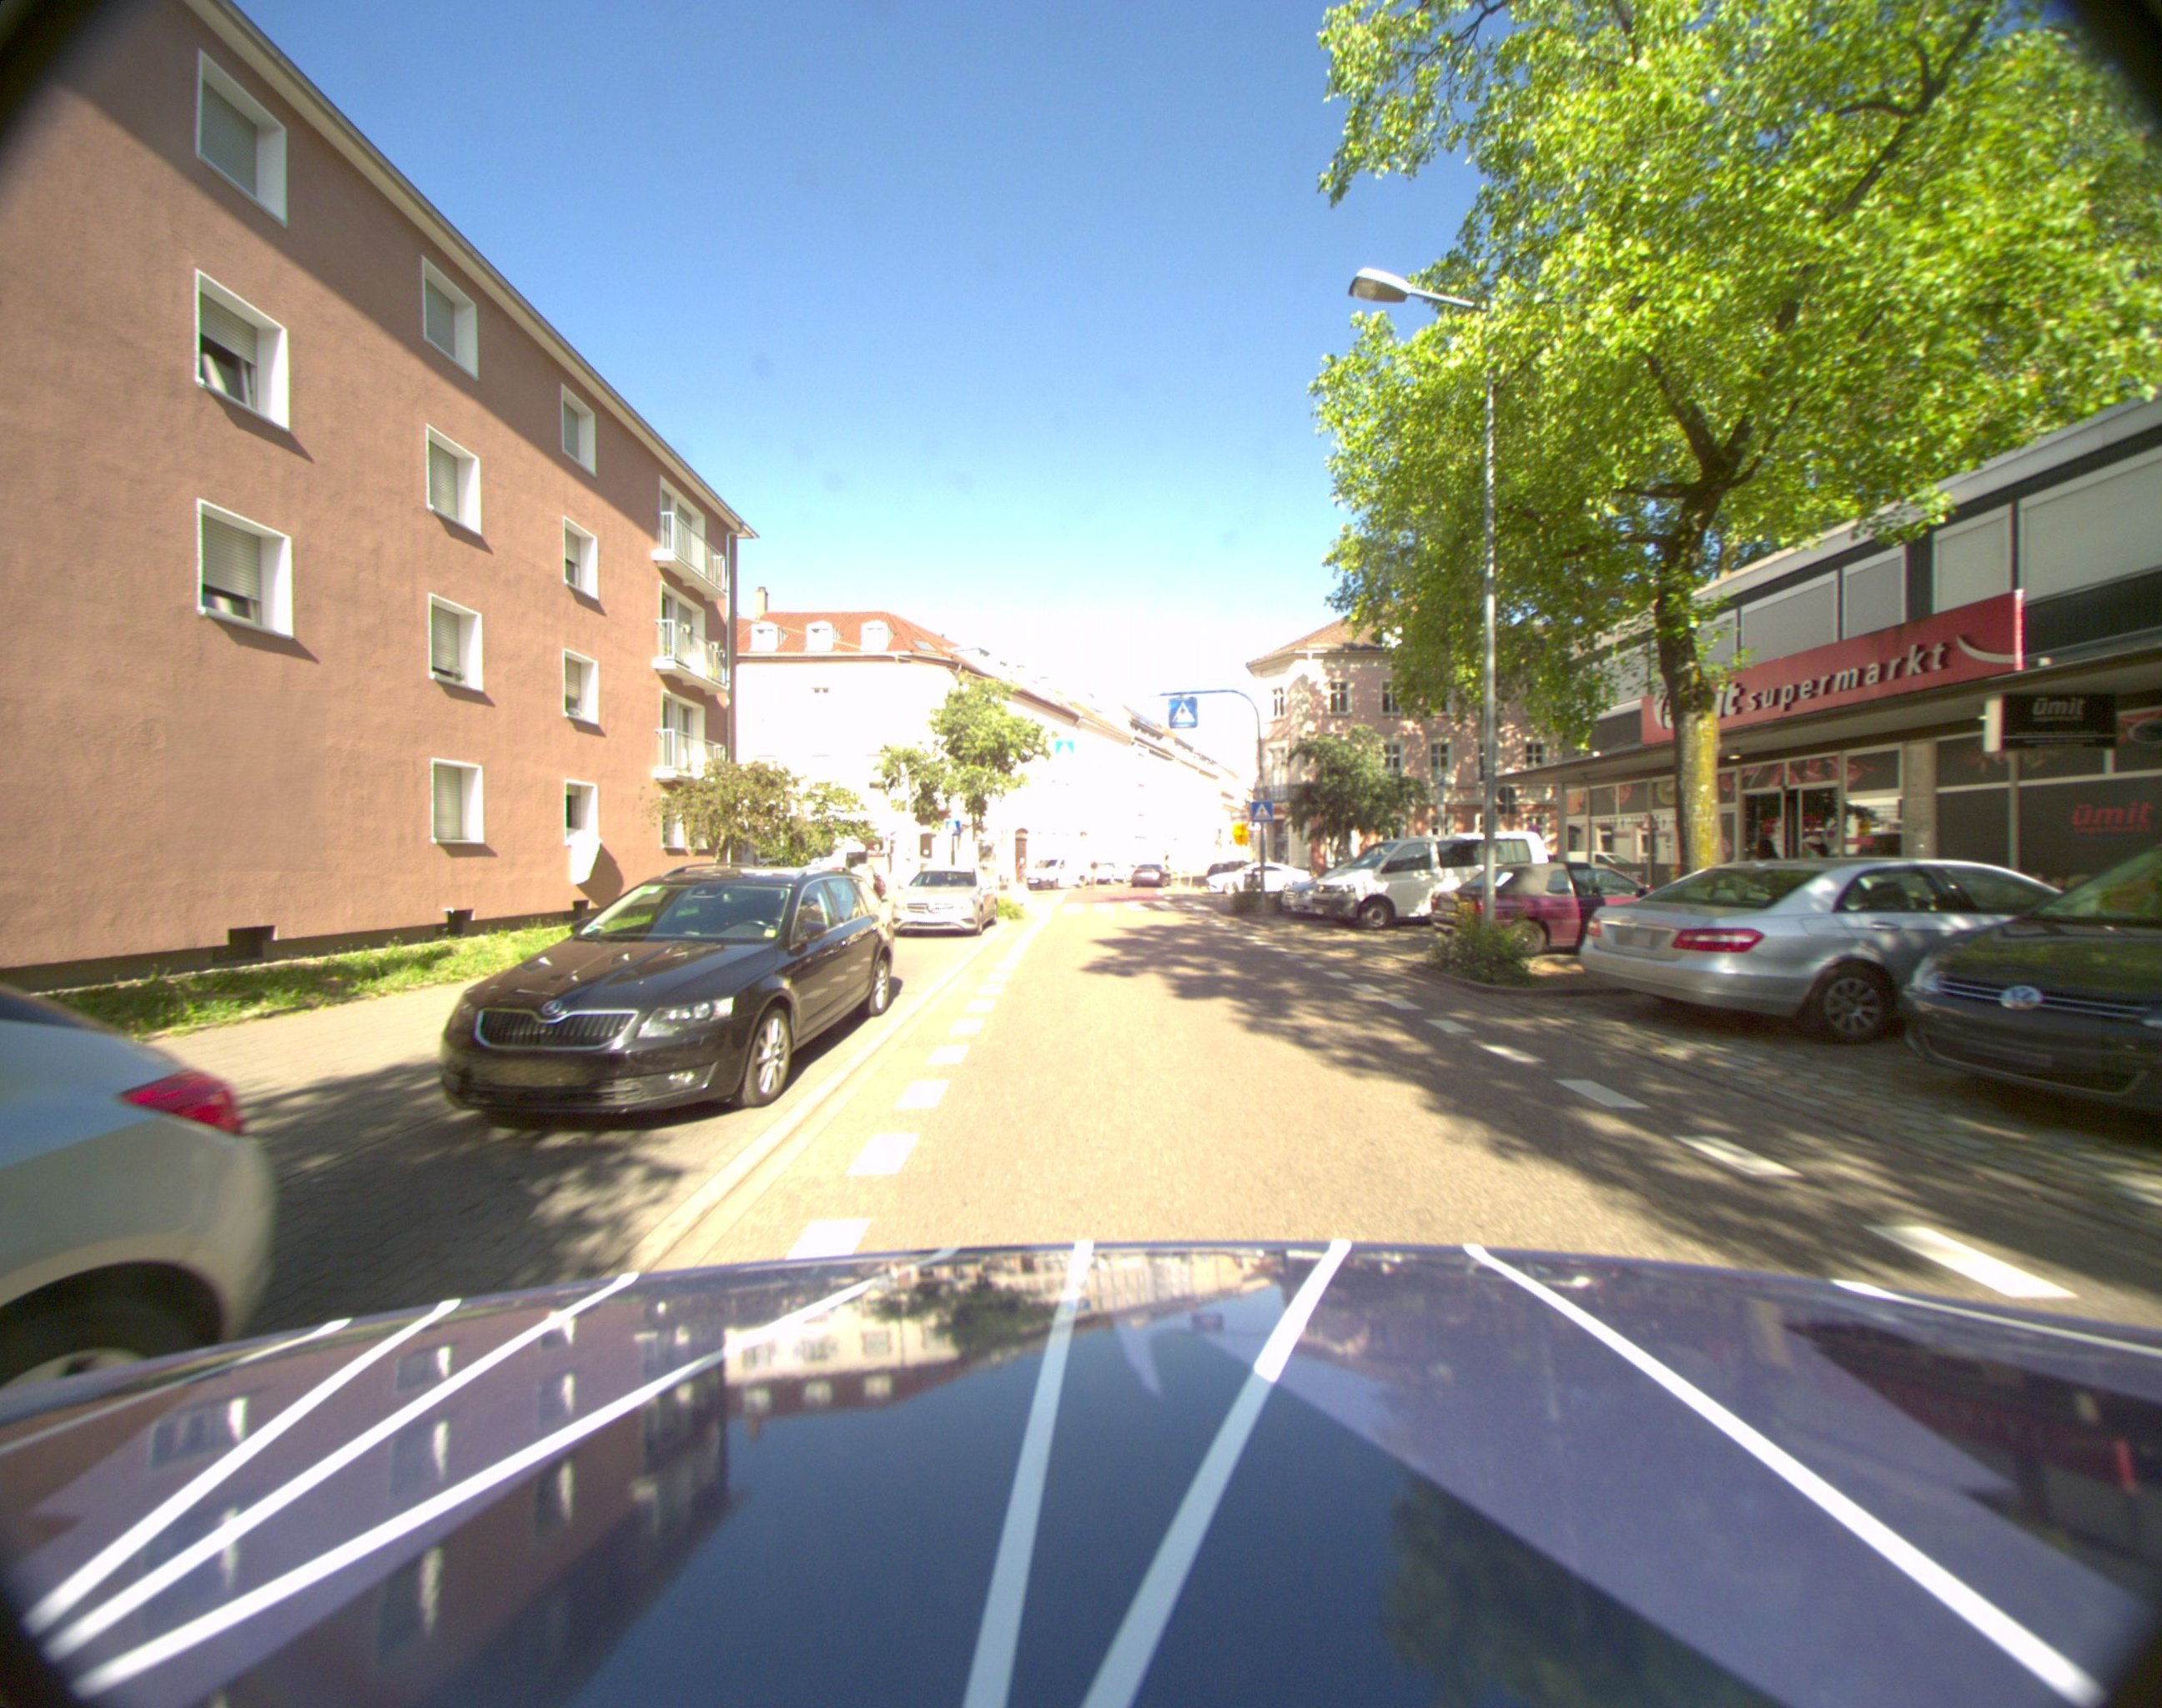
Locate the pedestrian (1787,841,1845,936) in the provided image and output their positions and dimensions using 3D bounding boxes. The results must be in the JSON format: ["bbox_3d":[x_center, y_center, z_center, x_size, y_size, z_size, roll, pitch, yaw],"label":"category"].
[{"bbox_3d":[12.299,0.573,12.729,0.474,1.547,0.499,-2,1,0],"label":"pedestrian"}]

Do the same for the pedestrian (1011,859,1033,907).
[{"bbox_3d":[-2.065,1.005,26.588,0.727,1.630,0.808,0,0,-1],"label":"pedestrian"}]

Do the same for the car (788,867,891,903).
[{"bbox_3d":[-9.637,1.230,30.496,3.648,1.394,1.568,0,0,0],"label":"car"}]

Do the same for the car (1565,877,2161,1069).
[{"bbox_3d":[6.835,0.936,6.751,3.998,1.390,1.759,0,0,-2],"label":"car"}]

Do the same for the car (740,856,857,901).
[{"bbox_3d":[-13.191,1.103,35.666,4.757,2.002,1.999,0,0,-5],"label":"car"}]

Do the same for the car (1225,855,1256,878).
[{"bbox_3d":[12.047,0.929,57.312,1.504,1.652,4.007,0,0,24],"label":"car"}]

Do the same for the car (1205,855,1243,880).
[{"bbox_3d":[9.974,0.910,52.727,1.670,1.628,4.055,0,0,24],"label":"car"}]

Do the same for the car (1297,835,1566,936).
[{"bbox_3d":[7.504,0.651,16.591,4.996,1.958,1.909,-1,0,-2],"label":"car"}]

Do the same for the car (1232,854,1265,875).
[{"bbox_3d":[13.641,0.799,61.657,1.854,1.652,4.007,0,0,24],"label":"car"}]

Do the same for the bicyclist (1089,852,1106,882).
[{"bbox_3d":[0.921,0.701,42.064,0.846,1.663,0.820,0,0,12],"label":"bicyclist"}]

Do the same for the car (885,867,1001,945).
[{"bbox_3d":[-2.843,1.029,16.535,1.736,1.420,4.000,0,0,1],"label":"car"}]

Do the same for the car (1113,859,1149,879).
[{"bbox_3d":[3.723,1.107,56.400,1.632,1.412,3.299,0,0,23],"label":"car"}]

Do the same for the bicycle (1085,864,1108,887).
[{"bbox_3d":[0.888,1.164,41.799,0.874,1.179,2.293,0,0,11],"label":"bicycle"}]

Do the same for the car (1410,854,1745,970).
[{"bbox_3d":[7.470,0.823,11.700,3.998,1.412,1.737,-3,0,-2],"label":"car"}]

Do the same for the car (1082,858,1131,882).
[{"bbox_3d":[1.738,1.041,50.388,2.130,1.487,3.951,0,0,19],"label":"car"}]

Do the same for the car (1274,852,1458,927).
[{"bbox_3d":[7.086,0.865,19.165,3.997,1.781,1.757,0,0,-1],"label":"car"}]

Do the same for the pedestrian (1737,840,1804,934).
[{"bbox_3d":[11.680,0.543,12.886,0.529,1.547,0.663,-2,1,0],"label":"pedestrian"}]

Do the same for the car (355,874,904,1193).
[{"bbox_3d":[-2.734,0.943,5.910,1.662,1.473,4.311,0,0,0],"label":"car"}]

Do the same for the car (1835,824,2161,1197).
[{"bbox_3d":[7.457,0.674,4.211,4.781,1.767,1.874,-2,0,-2],"label":"car"}]

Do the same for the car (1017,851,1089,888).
[{"bbox_3d":[-1.454,0.835,42.069,1.908,1.924,4.818,0,0,26],"label":"car"}]

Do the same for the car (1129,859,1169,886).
[{"bbox_3d":[4.103,1.051,45.249,1.997,1.455,4.003,-2,0,9],"label":"car"}]

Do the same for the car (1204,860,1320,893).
[{"bbox_3d":[8.210,1.012,34.713,4.802,1.417,2.000,0,0,-1],"label":"car"}]
